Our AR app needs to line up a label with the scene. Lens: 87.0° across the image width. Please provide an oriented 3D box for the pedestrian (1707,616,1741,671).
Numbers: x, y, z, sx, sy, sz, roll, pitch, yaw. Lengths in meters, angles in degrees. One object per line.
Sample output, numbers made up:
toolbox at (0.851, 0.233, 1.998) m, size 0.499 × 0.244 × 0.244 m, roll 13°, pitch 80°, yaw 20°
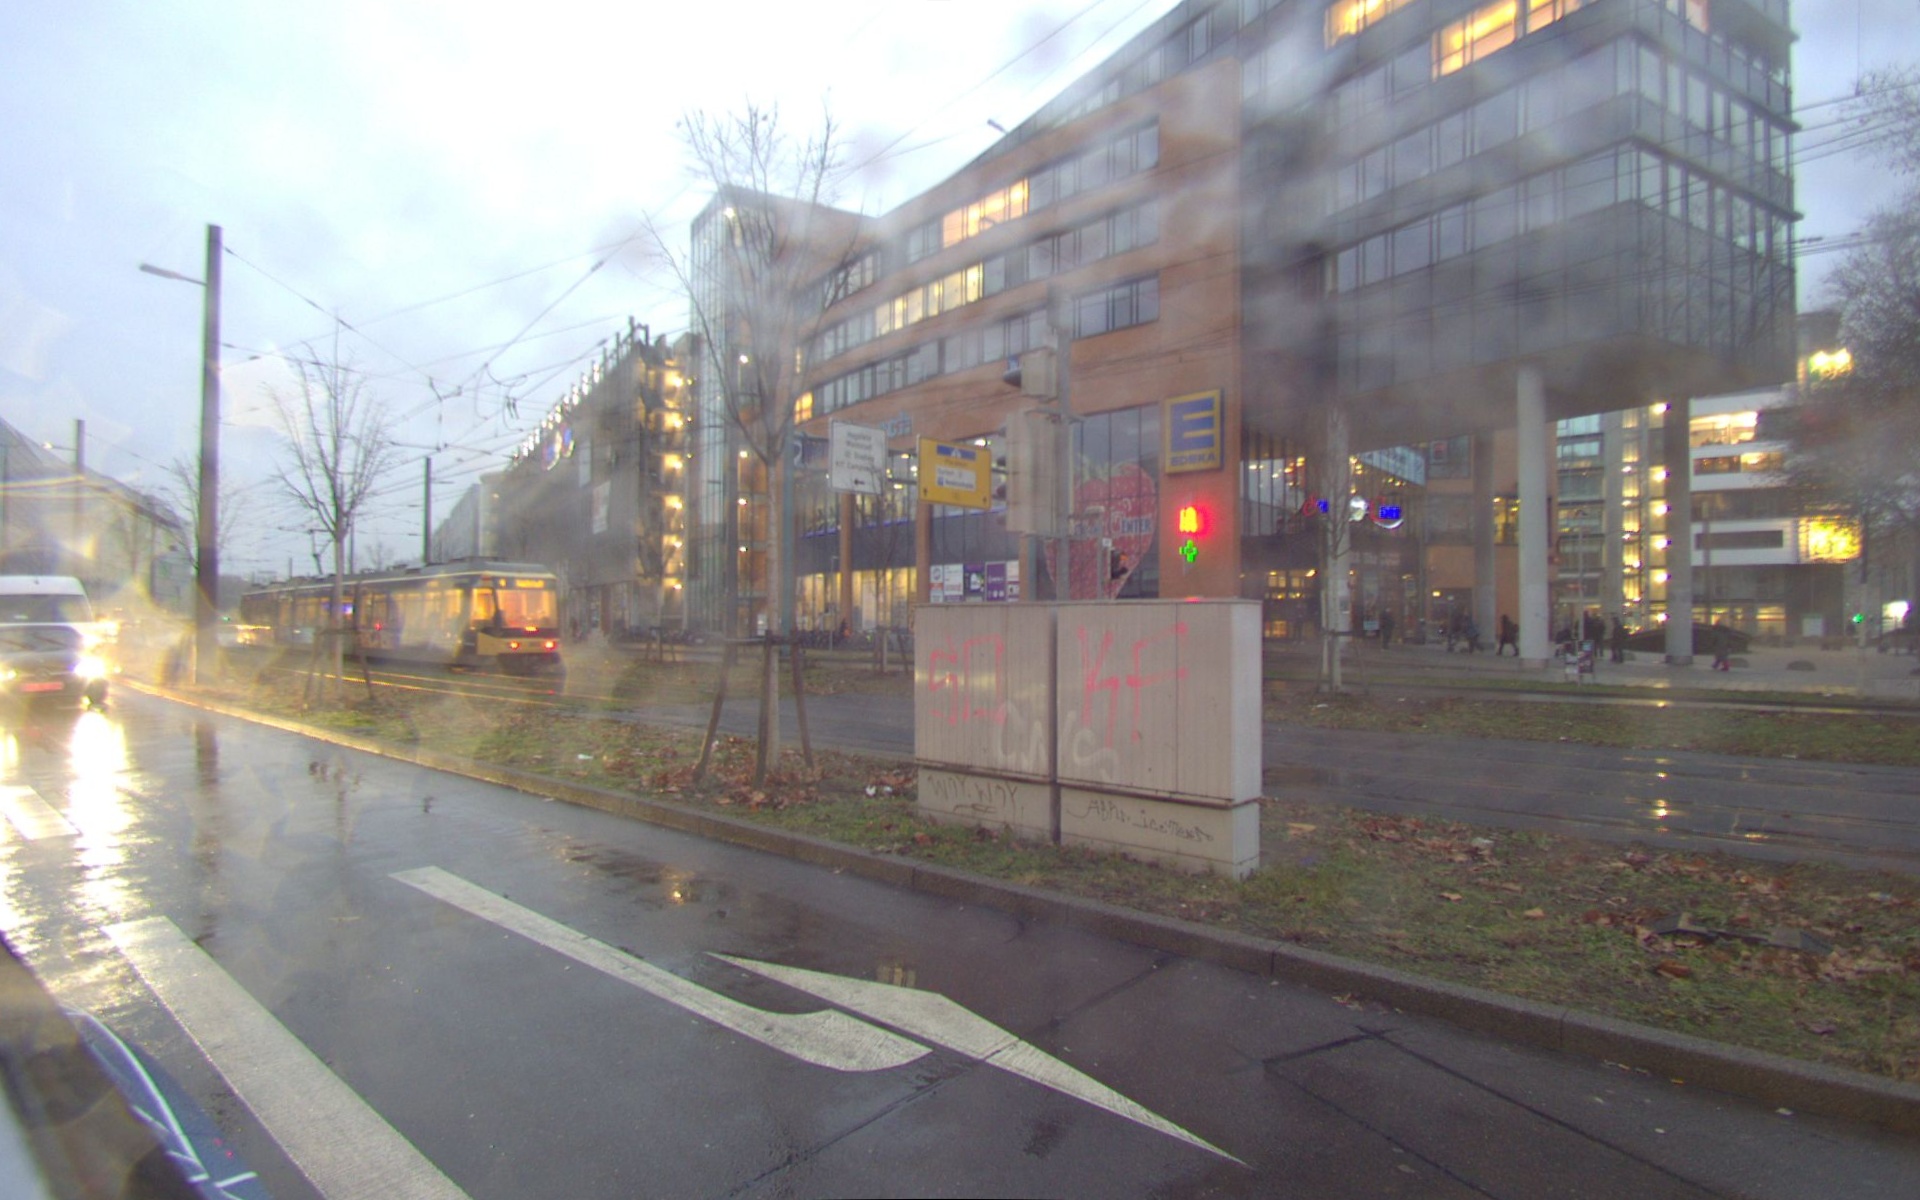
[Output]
pedestrian at (25.211, 1.422, 33.388) m, size 0.821 × 1.787 × 0.564 m, roll -1°, pitch -2°, yaw 42°

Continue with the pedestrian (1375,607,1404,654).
pedestrian at (16.390, 1.175, 38.618) m, size 0.782 × 1.766 × 0.704 m, roll 0°, pitch -2°, yaw -1°

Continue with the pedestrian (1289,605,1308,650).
pedestrian at (13.476, 1.086, 40.289) m, size 0.658 × 1.766 × 0.534 m, roll 0°, pitch -2°, yaw 12°

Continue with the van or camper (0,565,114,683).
van or camper at (-22.515, 0.574, 24.494) m, size 5.894 × 2.551 × 2.126 m, roll -1°, pitch -2°, yaw 40°

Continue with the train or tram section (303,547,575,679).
train or tram section at (-19.161, 0.555, 35.715) m, size 2.831 × 3.642 × 19.224 m, roll 2°, pitch -2°, yaw -45°

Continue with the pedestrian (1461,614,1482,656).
pedestrian at (19.859, 1.368, 39.300) m, size 0.674 × 1.620 × 0.449 m, roll -1°, pitch -2°, yaw 33°

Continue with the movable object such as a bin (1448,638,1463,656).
movable object such as a bin at (19.379, 1.834, 39.611) m, size 0.484 × 0.694 × 0.353 m, roll -1°, pitch -2°, yaw 33°

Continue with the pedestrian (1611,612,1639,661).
pedestrian at (24.009, 1.309, 36.545) m, size 0.784 × 1.725 × 0.647 m, roll -1°, pitch -2°, yaw 39°

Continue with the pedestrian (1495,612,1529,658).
pedestrian at (21.275, 1.345, 38.997) m, size 0.994 × 1.725 × 0.787 m, roll 1°, pitch -2°, yaw -34°

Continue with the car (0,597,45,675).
car at (-37.555, 1.397, 39.497) m, size 5.811 × 2.885 × 2.101 m, roll -1°, pitch -2°, yaw 42°

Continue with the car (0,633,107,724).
car at (-16.666, 1.328, 18.088) m, size 4.057 × 1.355 × 1.735 m, roll 0°, pitch -1°, yaw 44°

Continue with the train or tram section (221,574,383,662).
train or tram section at (-32.840, 0.941, 49.747) m, size 2.831 × 3.642 × 20.086 m, roll 2°, pitch -2°, yaw -44°
